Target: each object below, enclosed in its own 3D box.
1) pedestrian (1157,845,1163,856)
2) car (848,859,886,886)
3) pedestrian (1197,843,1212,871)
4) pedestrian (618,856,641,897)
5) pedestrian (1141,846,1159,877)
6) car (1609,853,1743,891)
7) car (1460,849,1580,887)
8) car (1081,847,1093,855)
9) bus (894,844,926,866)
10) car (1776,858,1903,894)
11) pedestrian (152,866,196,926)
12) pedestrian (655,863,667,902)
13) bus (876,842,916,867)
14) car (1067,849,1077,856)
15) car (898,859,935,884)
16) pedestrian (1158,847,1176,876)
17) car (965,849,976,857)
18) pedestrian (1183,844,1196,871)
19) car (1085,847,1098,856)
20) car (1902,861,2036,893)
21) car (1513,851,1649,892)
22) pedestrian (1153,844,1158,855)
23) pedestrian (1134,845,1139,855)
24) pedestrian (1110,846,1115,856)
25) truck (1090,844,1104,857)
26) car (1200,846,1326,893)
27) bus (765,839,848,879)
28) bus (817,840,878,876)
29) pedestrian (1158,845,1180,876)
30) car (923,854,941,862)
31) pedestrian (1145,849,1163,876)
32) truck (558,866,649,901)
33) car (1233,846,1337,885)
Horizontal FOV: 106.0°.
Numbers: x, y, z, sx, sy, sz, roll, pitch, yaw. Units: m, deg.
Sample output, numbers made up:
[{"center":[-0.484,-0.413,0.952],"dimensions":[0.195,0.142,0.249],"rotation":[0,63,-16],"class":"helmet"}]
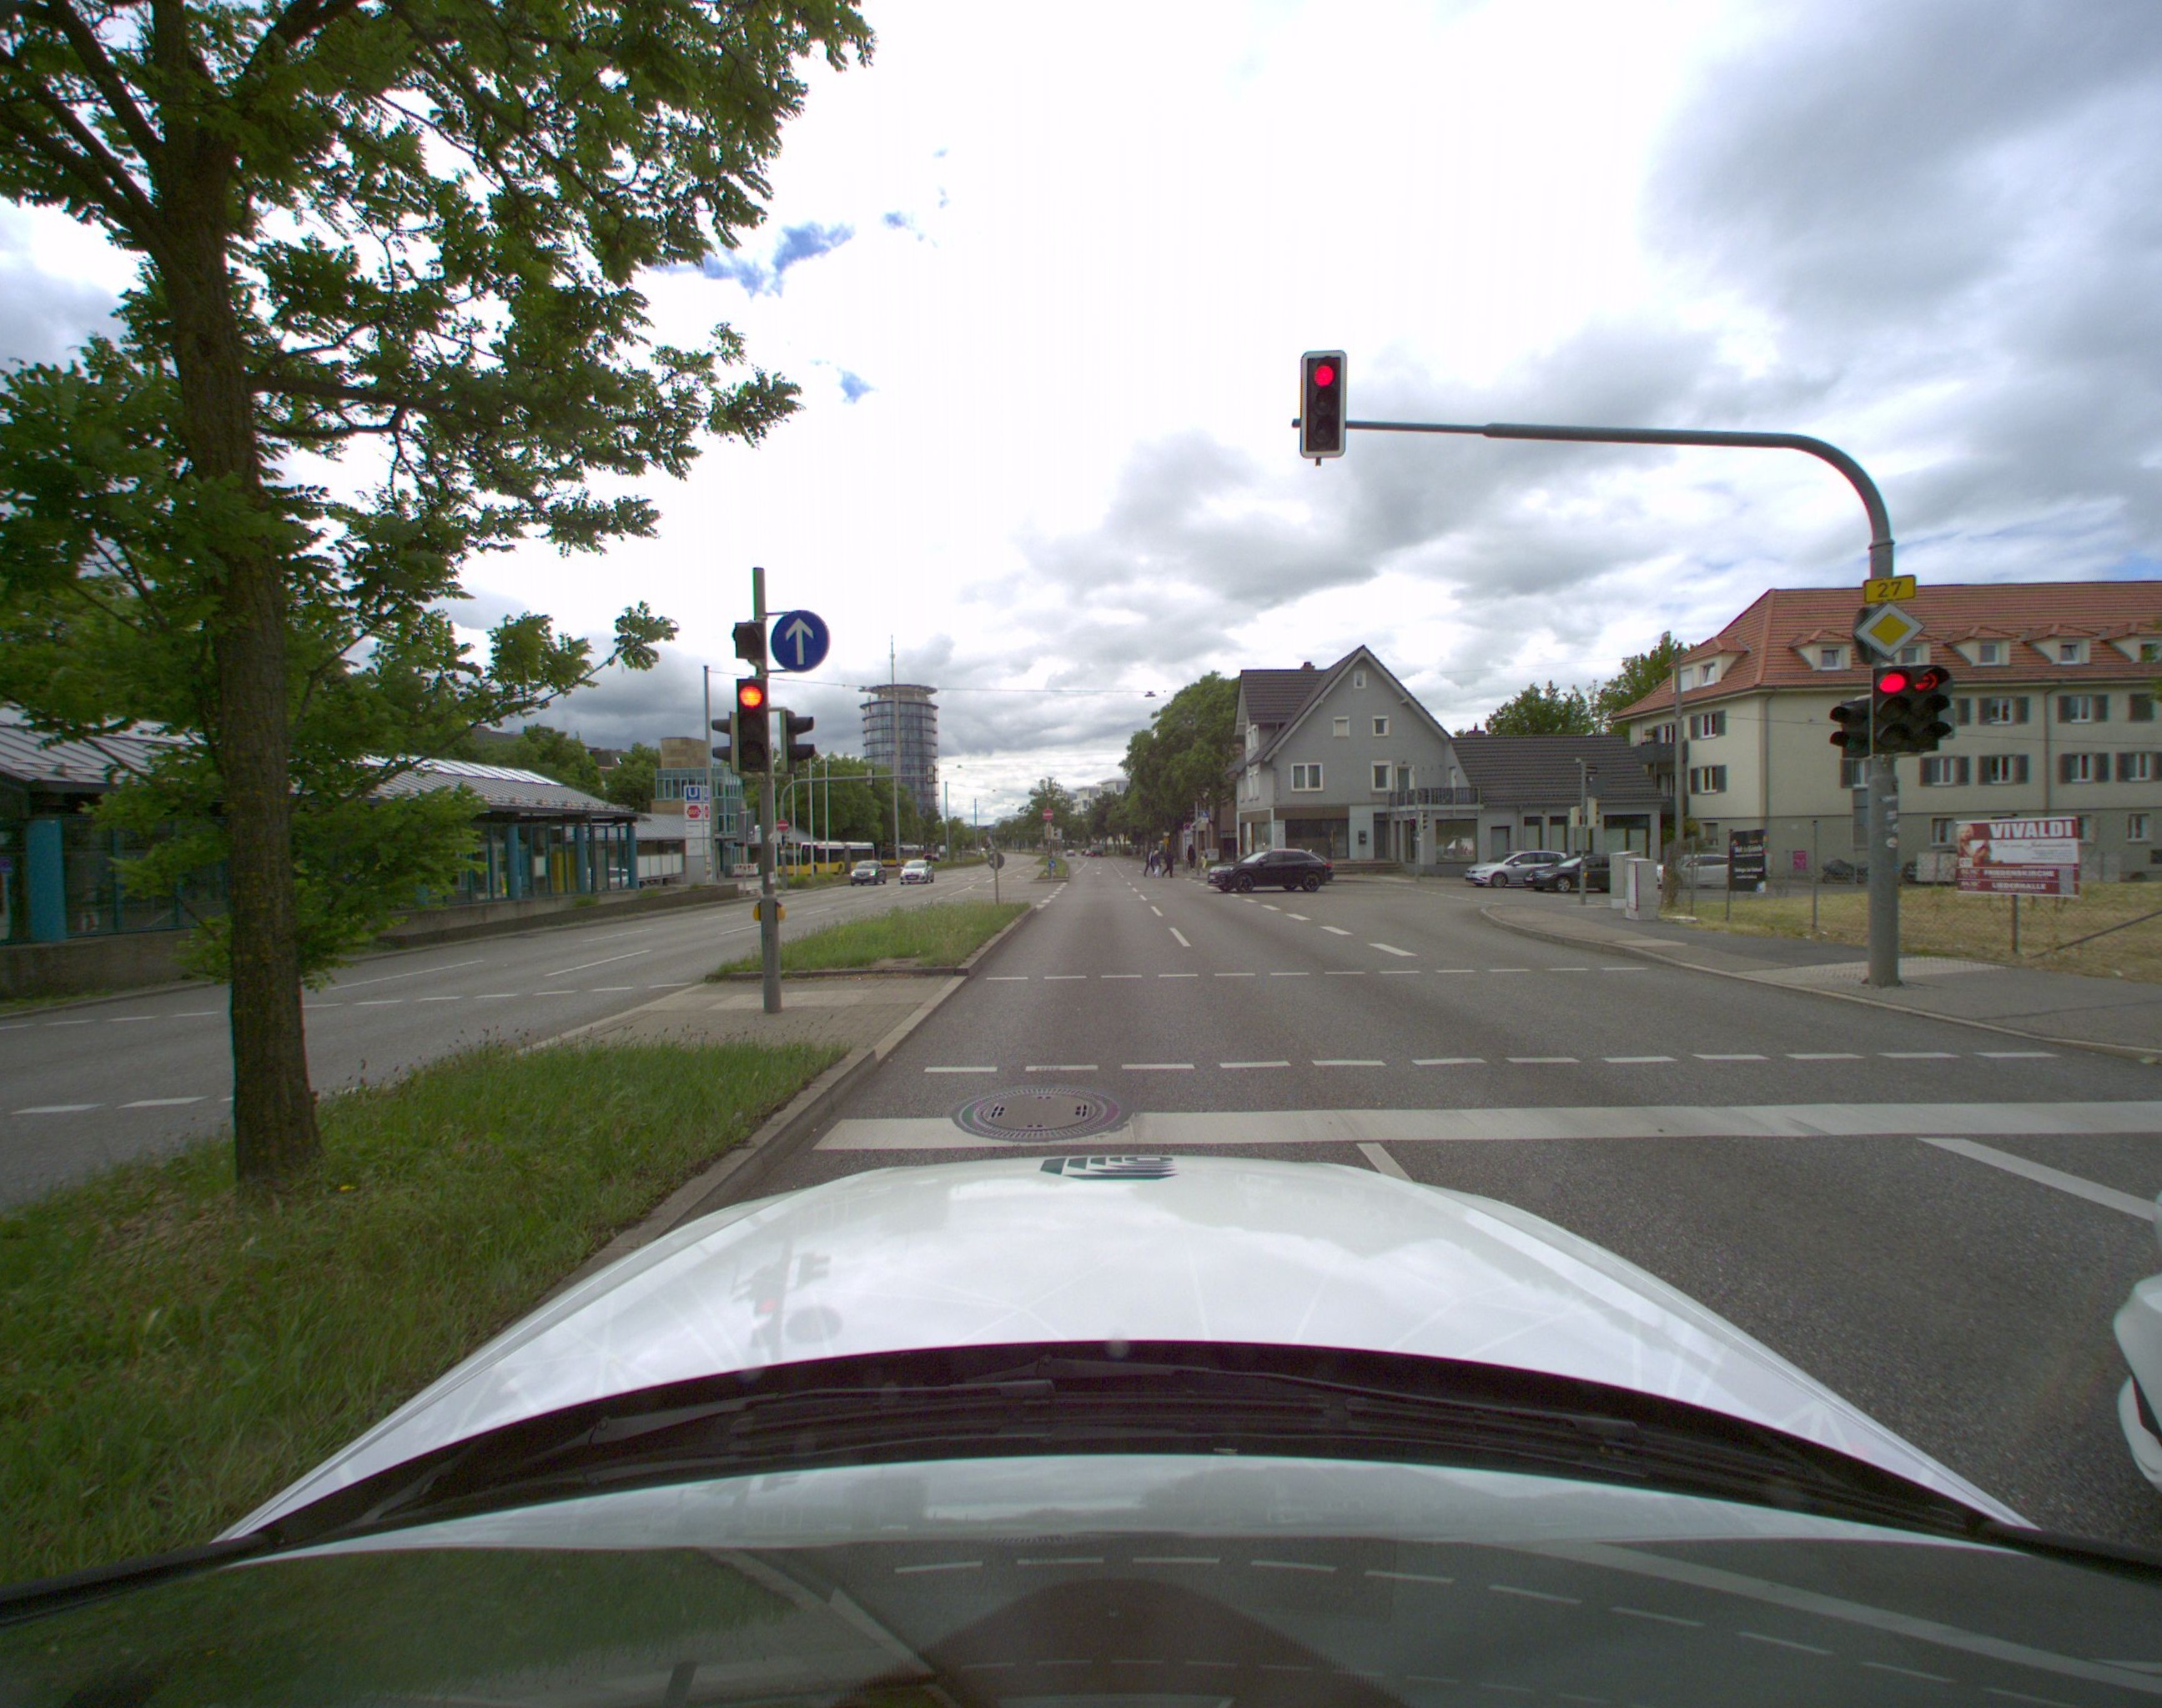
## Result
[{"center":[12.005,-0.550,123.503],"dimensions":[0.649,1.570,0.669],"rotation":[-2,0,-6],"class":"pedestrian"},{"center":[-13.489,1.149,51.538],"dimensions":[1.681,1.578,3.344],"rotation":[-2,0,-4],"class":"car"},{"center":[7.640,0.191,50.326],"dimensions":[0.703,1.662,0.870],"rotation":[-2,0,-2],"class":"pedestrian"},{"center":[-21.402,1.066,38.597],"dimensions":[0.658,1.897,0.686],"rotation":[-2,0,1],"class":"pedestrian"},{"center":[4.066,0.460,47.991],"dimensions":[0.866,1.780,0.706],"rotation":[-2,0,-7],"class":"pedestrian"},{"center":[25.273,0.747,34.717],"dimensions":[4.226,1.477,2.001],"rotation":[-1,0,2],"class":"car"},{"center":[18.357,0.561,34.207],"dimensions":[4.083,1.540,1.830],"rotation":[0,0,3],"class":"car"},{"center":[1.301,-0.547,174.111],"dimensions":[2.246,1.647,4.927],"rotation":[-2,0,-3],"class":"car"},{"center":[-26.029,0.132,124.333],"dimensions":[3.134,3.225,7.765],"rotation":[-2,0,0],"class":"bus"},{"center":[34.044,0.981,36.618],"dimensions":[3.972,1.537,1.871],"rotation":[0,0,2],"class":"car"},{"center":[-25.763,1.176,23.139],"dimensions":[0.629,1.667,0.665],"rotation":[-1,-1,23],"class":"pedestrian"},{"center":[-17.461,1.176,33.856],"dimensions":[0.420,1.591,0.353],"rotation":[-2,0,-28],"class":"pedestrian"},{"center":[-26.087,0.106,115.324],"dimensions":[3.135,3.225,10.282],"rotation":[-2,0,0],"class":"bus"},{"center":[-1.900,-0.344,173.502],"dimensions":[1.963,1.420,4.017],"rotation":[-2,0,-3],"class":"car"},{"center":[-10.336,1.057,51.327],"dimensions":[1.680,1.462,3.552],"rotation":[-2,0,-3],"class":"car"},{"center":[5.282,0.468,50.055],"dimensions":[0.870,1.780,0.702],"rotation":[-2,0,-21],"class":"pedestrian"},{"center":[-27.246,-0.158,201.224],"dimensions":[1.958,2.014,4.001],"rotation":[0,-1,2],"class":"car"},{"center":[6.742,0.204,50.723],"dimensions":[0.702,1.662,0.871],"rotation":[-1,0,4],"class":"pedestrian"},{"center":[2.115,-0.465,163.975],"dimensions":[2.246,1.757,4.928],"rotation":[-2,0,-3],"class":"car"},{"center":[39.814,1.018,36.579],"dimensions":[3.972,1.377,1.871],"rotation":[0,0,2],"class":"car"},{"center":[19.341,0.648,31.609],"dimensions":[4.259,1.481,1.715],"rotation":[0,1,0],"class":"car"},{"center":[11.324,-0.649,123.468],"dimensions":[0.649,1.570,0.669],"rotation":[-2,0,-6],"class":"pedestrian"},{"center":[10.507,-0.754,154.040],"dimensions":[0.967,2.014,0.981],"rotation":[0,-1,1],"class":"pedestrian"},{"center":[7.106,-0.679,183.580],"dimensions":[0.930,2.308,1.008],"rotation":[0,-1,-8],"class":"pedestrian"},{"center":[2.957,-0.652,152.767],"dimensions":[2.246,2.416,4.928],"rotation":[-2,0,-3],"class":"truck"},{"center":[6.594,0.537,29.609],"dimensions":[4.065,1.521,1.832],"rotation":[-2,0,-15],"class":"car"},{"center":[-24.318,0.408,72.874],"dimensions":[2.975,3.250,10.186],"rotation":[-2,0,6],"class":"bus"},{"center":[-23.346,0.375,81.873],"dimensions":[2.975,3.270,7.889],"rotation":[-2,0,6],"class":"bus"},{"center":[4.994,0.370,46.223],"dimensions":[1.048,1.760,0.706],"rotation":[-2,0,-8],"class":"pedestrian"},{"center":[-30.540,0.823,167.226],"dimensions":[3.546,1.492,1.704],"rotation":[-2,0,-6],"class":"car"},{"center":[4.241,0.490,47.225],"dimensions":[0.866,1.507,0.706],"rotation":[-2,0,-7],"class":"pedestrian"},{"center":[-23.303,1.384,39.944],"dimensions":[1.986,1.517,4.001],"rotation":[-2,0,1],"class":"truck"},{"center":[8.644,0.486,34.812],"dimensions":[4.063,1.494,1.899],"rotation":[-2,0,7],"class":"car"}]
